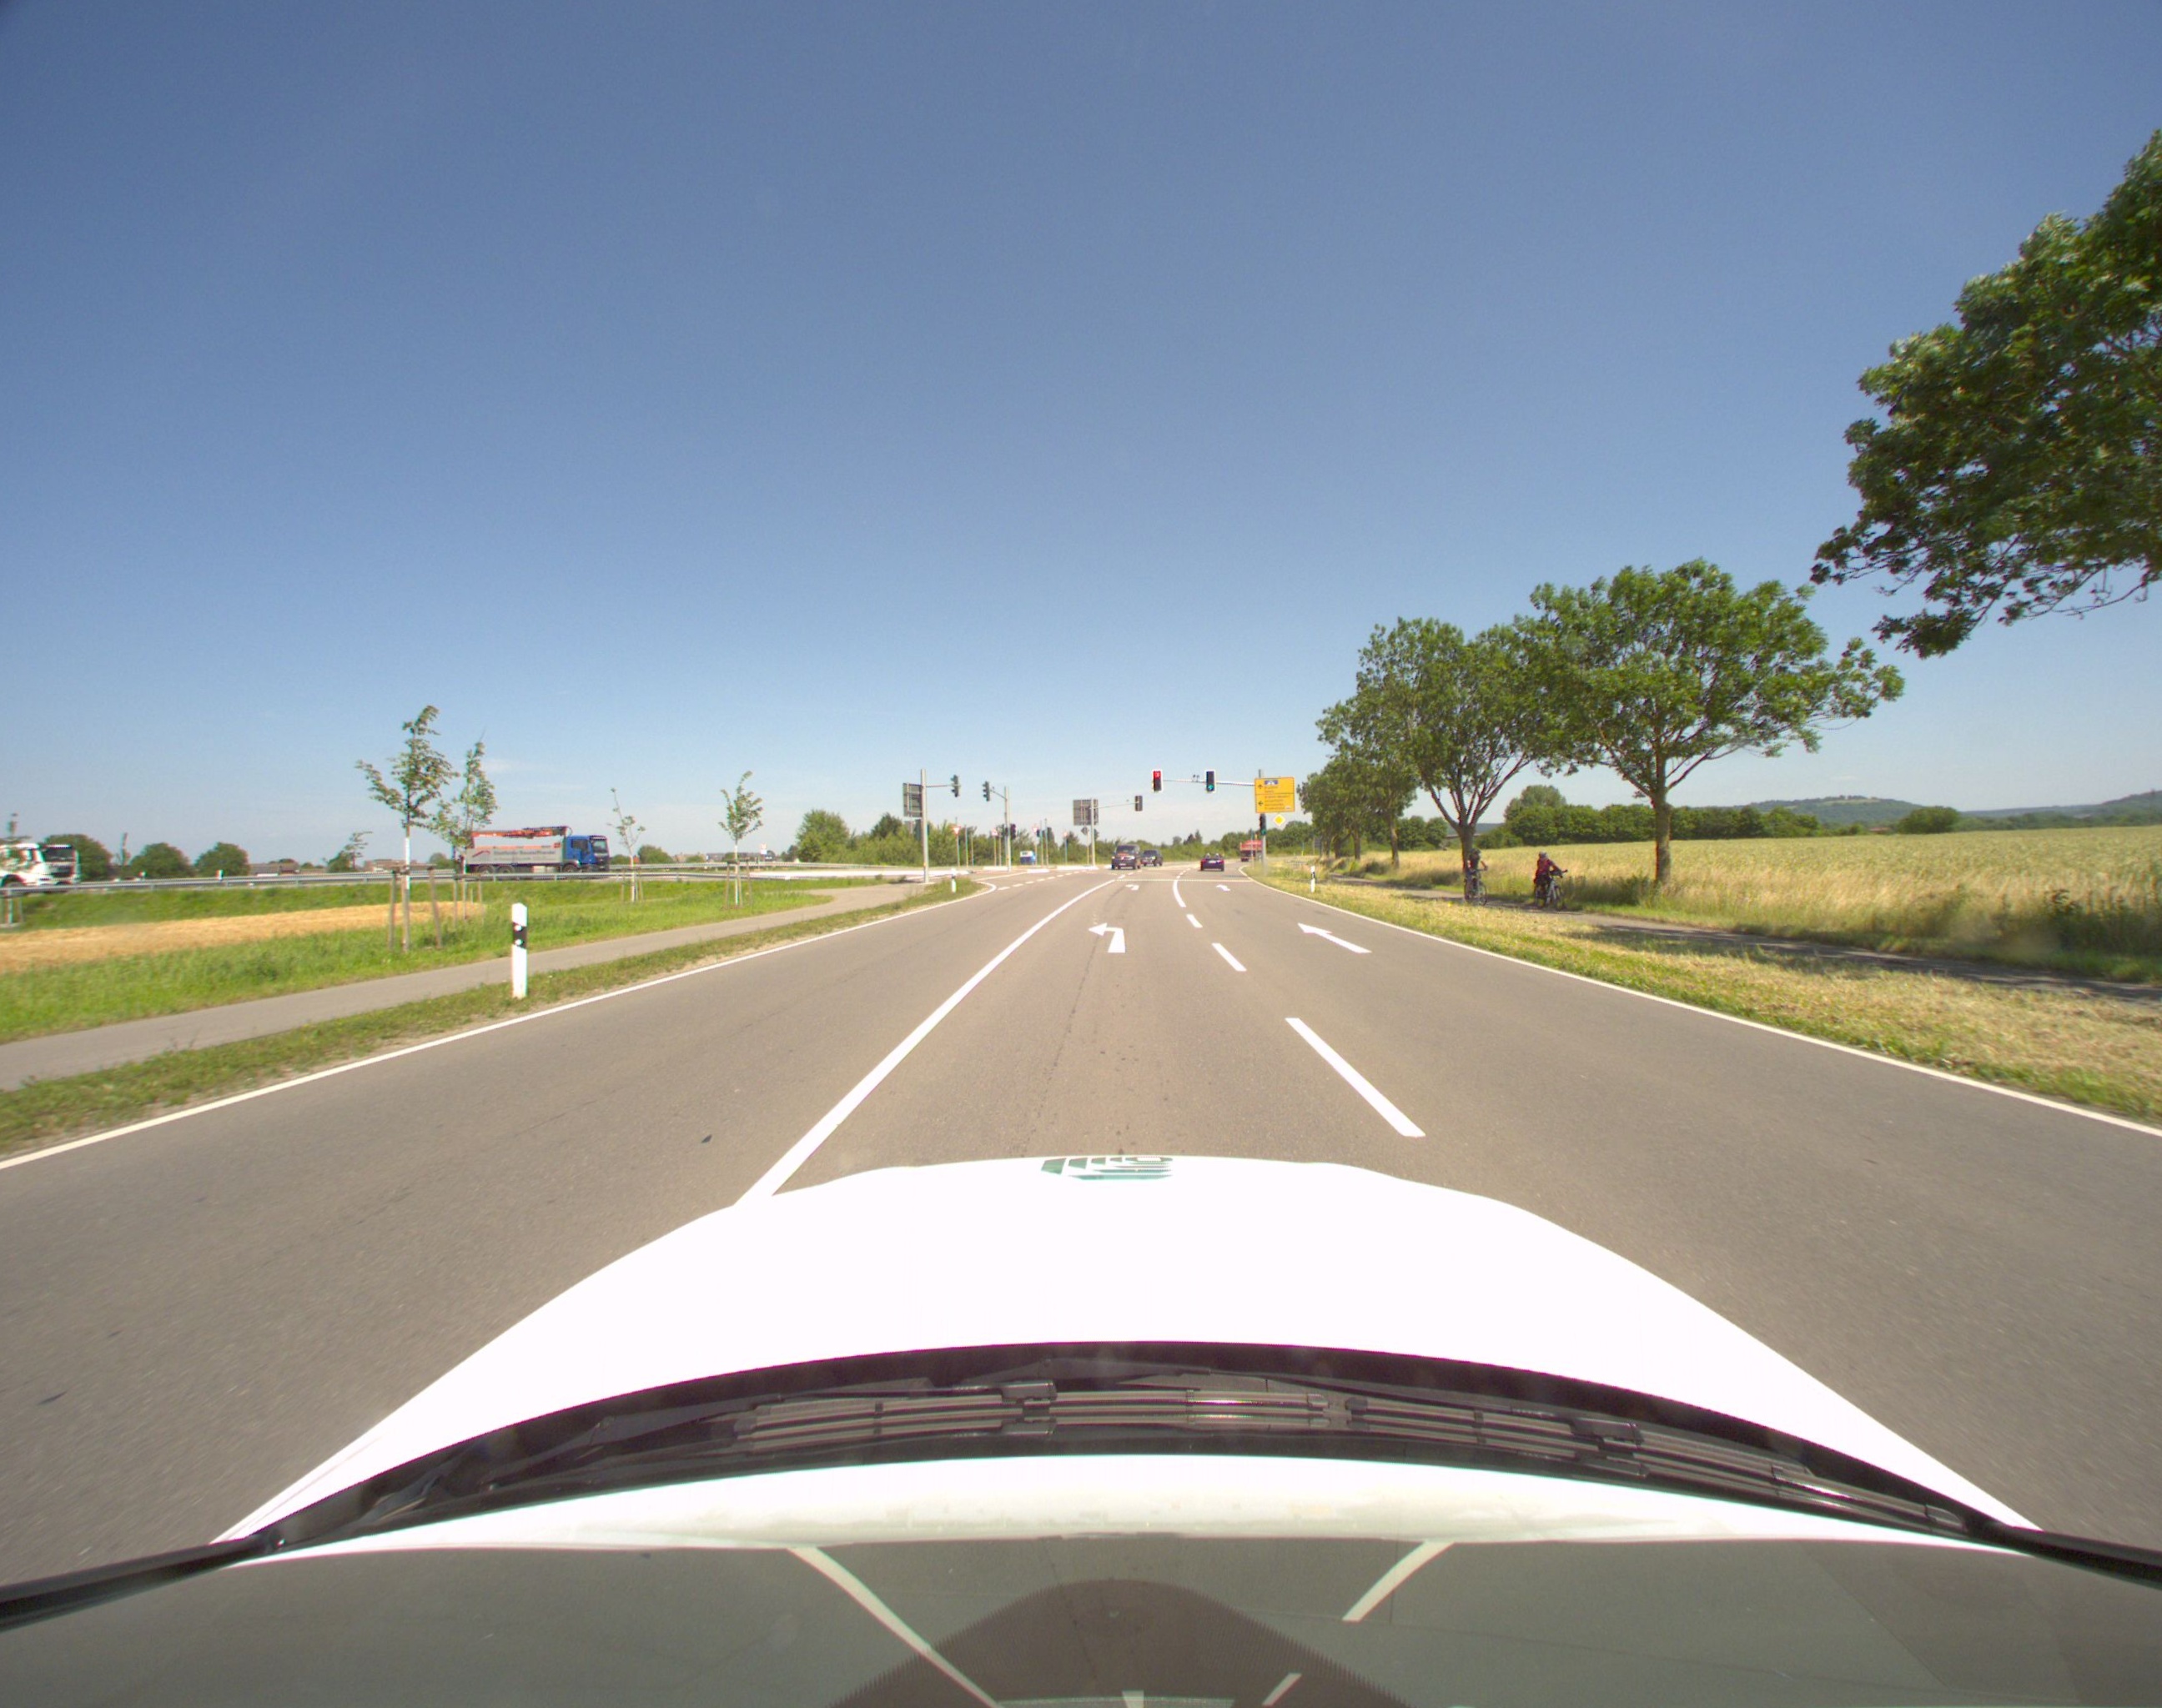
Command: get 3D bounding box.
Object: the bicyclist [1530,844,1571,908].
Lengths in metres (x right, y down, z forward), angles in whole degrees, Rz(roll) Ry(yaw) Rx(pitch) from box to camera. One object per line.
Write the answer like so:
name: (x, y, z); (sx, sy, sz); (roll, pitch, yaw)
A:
bicyclist: (13.619, 0.627, 23.638); (0.624, 1.783, 0.980); (3, 1, 9)

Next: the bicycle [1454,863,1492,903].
bicycle: (12.348, 0.902, 25.723); (0.601, 1.176, 2.058); (2, 0, 13)

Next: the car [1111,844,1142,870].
car: (3.617, 0.201, 64.370); (1.919, 1.978, 4.696); (-1, 0, 9)

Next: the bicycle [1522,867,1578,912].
bicycle: (13.586, 0.995, 23.647); (0.694, 1.210, 2.056); (1, 0, 9)

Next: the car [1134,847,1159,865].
car: (6.438, 0.174, 79.904); (1.918, 1.739, 4.903); (-1, 0, 10)

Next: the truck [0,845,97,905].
truck: (-69.513, 1.316, 50.222); (11.992, 3.614, 2.972); (-1, 0, -11)

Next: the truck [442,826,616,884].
truck: (-38.191, 0.056, 56.568); (10.052, 3.793, 2.624); (-1, 0, -2)

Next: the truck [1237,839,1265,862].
truck: (24.354, -0.459, 116.159); (2.691, 3.053, 8.205); (-1, -1, 20)

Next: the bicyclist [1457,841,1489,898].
bicyclist: (12.373, 0.466, 25.752); (0.583, 1.734, 1.176); (3, 1, 13)

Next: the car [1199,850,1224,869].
car: (9.726, 0.447, 60.441); (1.736, 1.376, 3.689); (0, -1, 10)
